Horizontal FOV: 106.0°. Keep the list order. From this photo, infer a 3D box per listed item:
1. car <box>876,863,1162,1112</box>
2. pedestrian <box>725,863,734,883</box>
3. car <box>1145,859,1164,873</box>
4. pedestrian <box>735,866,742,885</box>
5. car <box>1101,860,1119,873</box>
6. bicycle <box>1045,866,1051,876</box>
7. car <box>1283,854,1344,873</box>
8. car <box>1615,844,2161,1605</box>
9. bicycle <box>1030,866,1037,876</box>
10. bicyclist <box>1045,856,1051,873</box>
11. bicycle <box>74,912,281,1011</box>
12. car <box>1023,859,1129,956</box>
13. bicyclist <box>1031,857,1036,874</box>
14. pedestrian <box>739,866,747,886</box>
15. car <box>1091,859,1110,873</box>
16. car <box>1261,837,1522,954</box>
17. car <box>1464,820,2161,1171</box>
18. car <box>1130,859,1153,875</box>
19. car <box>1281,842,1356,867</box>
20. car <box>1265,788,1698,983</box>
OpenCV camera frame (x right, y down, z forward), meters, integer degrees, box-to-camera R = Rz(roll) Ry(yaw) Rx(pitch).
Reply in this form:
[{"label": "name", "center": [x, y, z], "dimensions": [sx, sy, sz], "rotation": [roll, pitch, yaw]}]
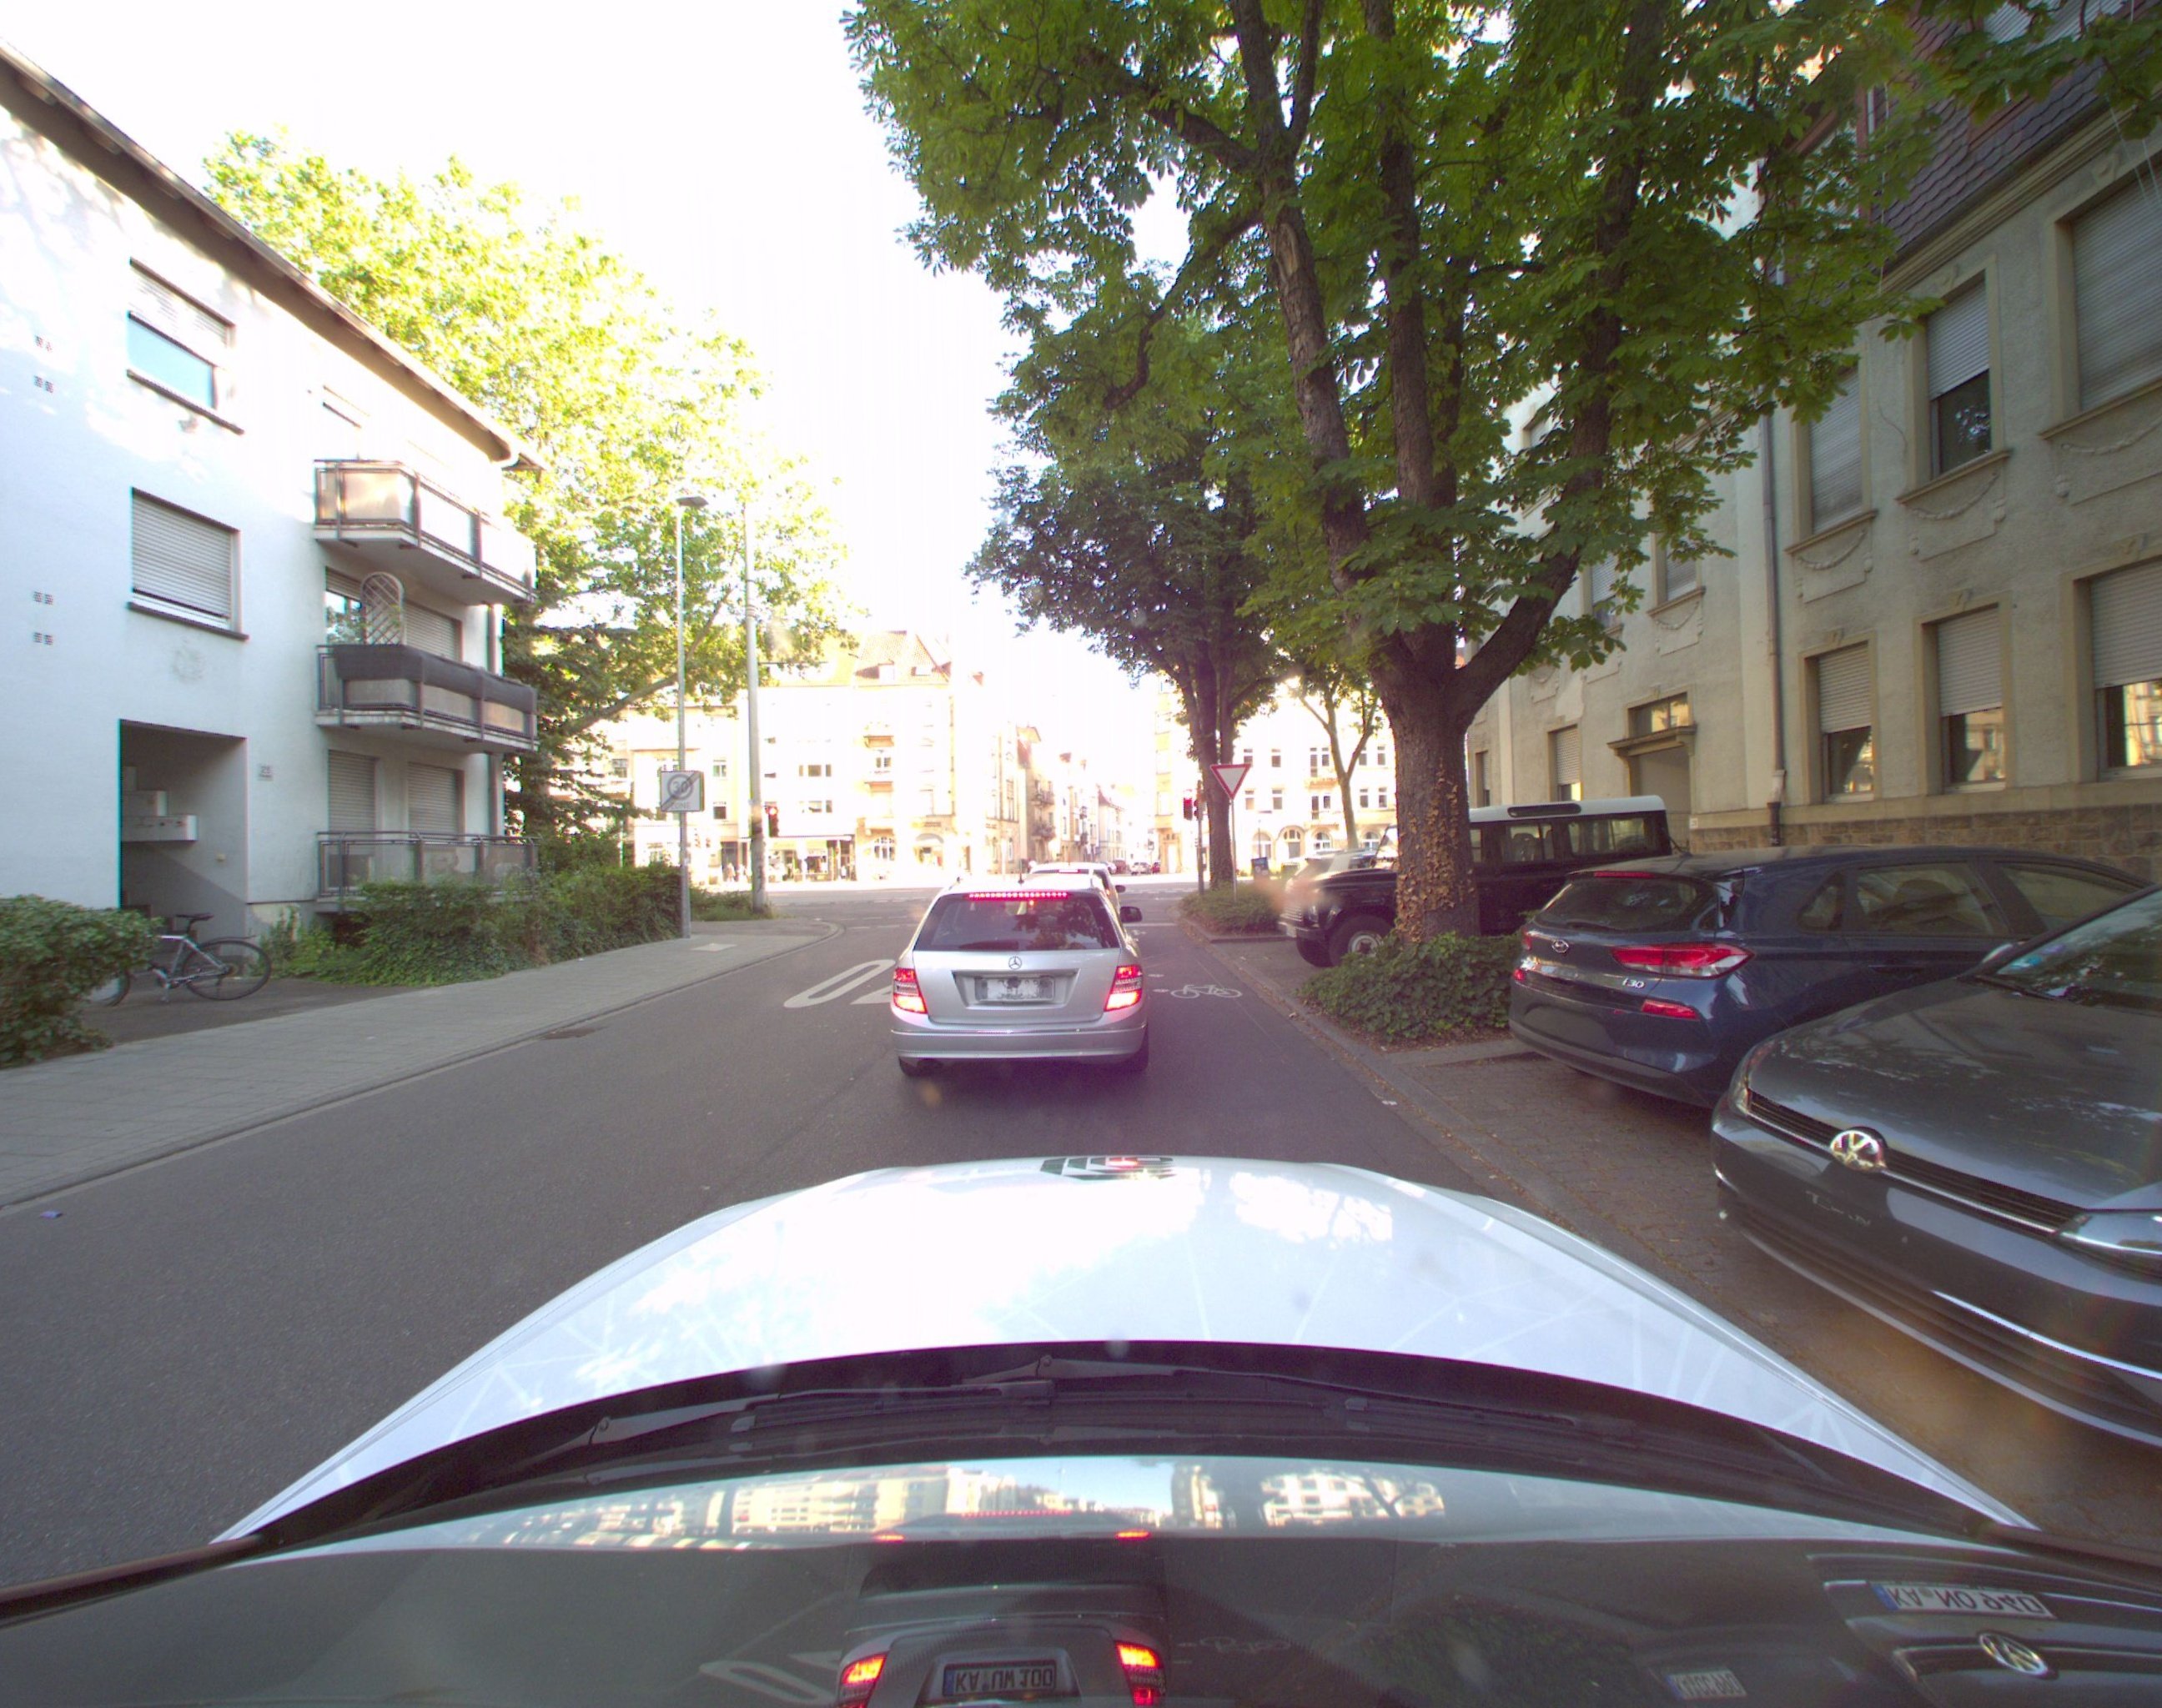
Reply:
[{"label": "car", "center": [-0.384, 0.811, 6.580], "dimensions": [1.685, 1.429, 3.491], "rotation": [0, 0, -1]}, {"label": "pedestrian", "center": [-27.538, 1.506, 63.842], "dimensions": [0.566, 1.511, 0.499], "rotation": [-1, 0, -17]}, {"label": "car", "center": [9.220, 1.462, 102.038], "dimensions": [1.709, 1.478, 4.016], "rotation": [-6, -1, 14]}, {"label": "pedestrian", "center": [-27.484, 1.752, 65.361], "dimensions": [0.511, 1.511, 0.532], "rotation": [-1, 0, -26]}, {"label": "car", "center": [3.880, 1.677, 108.794], "dimensions": [1.639, 1.604, 3.876], "rotation": [-1, -1, 13]}, {"label": "bicycle", "center": [-2.972, 1.513, 73.521], "dimensions": [0.567, 0.834, 1.565], "rotation": [-1, 0, -1]}, {"label": "car", "center": [14.238, 0.574, 49.932], "dimensions": [3.352, 1.069, 1.380], "rotation": [-2, 0, 0]}, {"label": "car", "center": [4.092, 0.664, 2.326], "dimensions": [4.037, 1.422, 1.627], "rotation": [-3, -1, -2]}, {"label": "bicycle", "center": [-4.272, 1.559, 73.538], "dimensions": [0.567, 0.834, 1.565], "rotation": [-1, 0, -1]}, {"label": "bicyclist", "center": [-3.008, 0.987, 73.809], "dimensions": [0.465, 1.521, 0.693], "rotation": [-1, 0, -2]}, {"label": "bicycle", "center": [-10.006, 1.158, 9.088], "dimensions": [1.469, 0.975, 0.402], "rotation": [2, -2, -38]}, {"label": "car", "center": [-0.062, 0.798, 13.810], "dimensions": [1.528, 1.391, 3.599], "rotation": [-1, 0, 0]}, {"label": "bicyclist", "center": [-4.283, 1.019, 73.579], "dimensions": [0.465, 1.514, 0.655], "rotation": [-1, 0, -2]}, {"label": "pedestrian", "center": [-26.799, 1.741, 64.556], "dimensions": [0.474, 1.511, 0.428], "rotation": [-1, 0, -18]}, {"label": "car", "center": [2.526, 1.537, 102.558], "dimensions": [1.639, 1.783, 3.876], "rotation": [-1, -1, 13]}, {"label": "car", "center": [4.871, 0.619, 13.076], "dimensions": [3.475, 1.586, 1.708], "rotation": [-3, 0, -5]}, {"label": "car", "center": [4.406, 0.619, 4.526], "dimensions": [3.739, 1.422, 1.627], "rotation": [-3, -1, -2]}, {"label": "car", "center": [6.427, 1.325, 85.944], "dimensions": [1.708, 1.478, 4.016], "rotation": [-3, 0, 14]}, {"label": "car", "center": [15.050, 0.016, 51.747], "dimensions": [4.271, 1.461, 1.787], "rotation": [-2, 1, 0]}, {"label": "car", "center": [4.792, 0.353, 10.201], "dimensions": [4.478, 1.956, 1.792], "rotation": [-3, 0, -1]}]
